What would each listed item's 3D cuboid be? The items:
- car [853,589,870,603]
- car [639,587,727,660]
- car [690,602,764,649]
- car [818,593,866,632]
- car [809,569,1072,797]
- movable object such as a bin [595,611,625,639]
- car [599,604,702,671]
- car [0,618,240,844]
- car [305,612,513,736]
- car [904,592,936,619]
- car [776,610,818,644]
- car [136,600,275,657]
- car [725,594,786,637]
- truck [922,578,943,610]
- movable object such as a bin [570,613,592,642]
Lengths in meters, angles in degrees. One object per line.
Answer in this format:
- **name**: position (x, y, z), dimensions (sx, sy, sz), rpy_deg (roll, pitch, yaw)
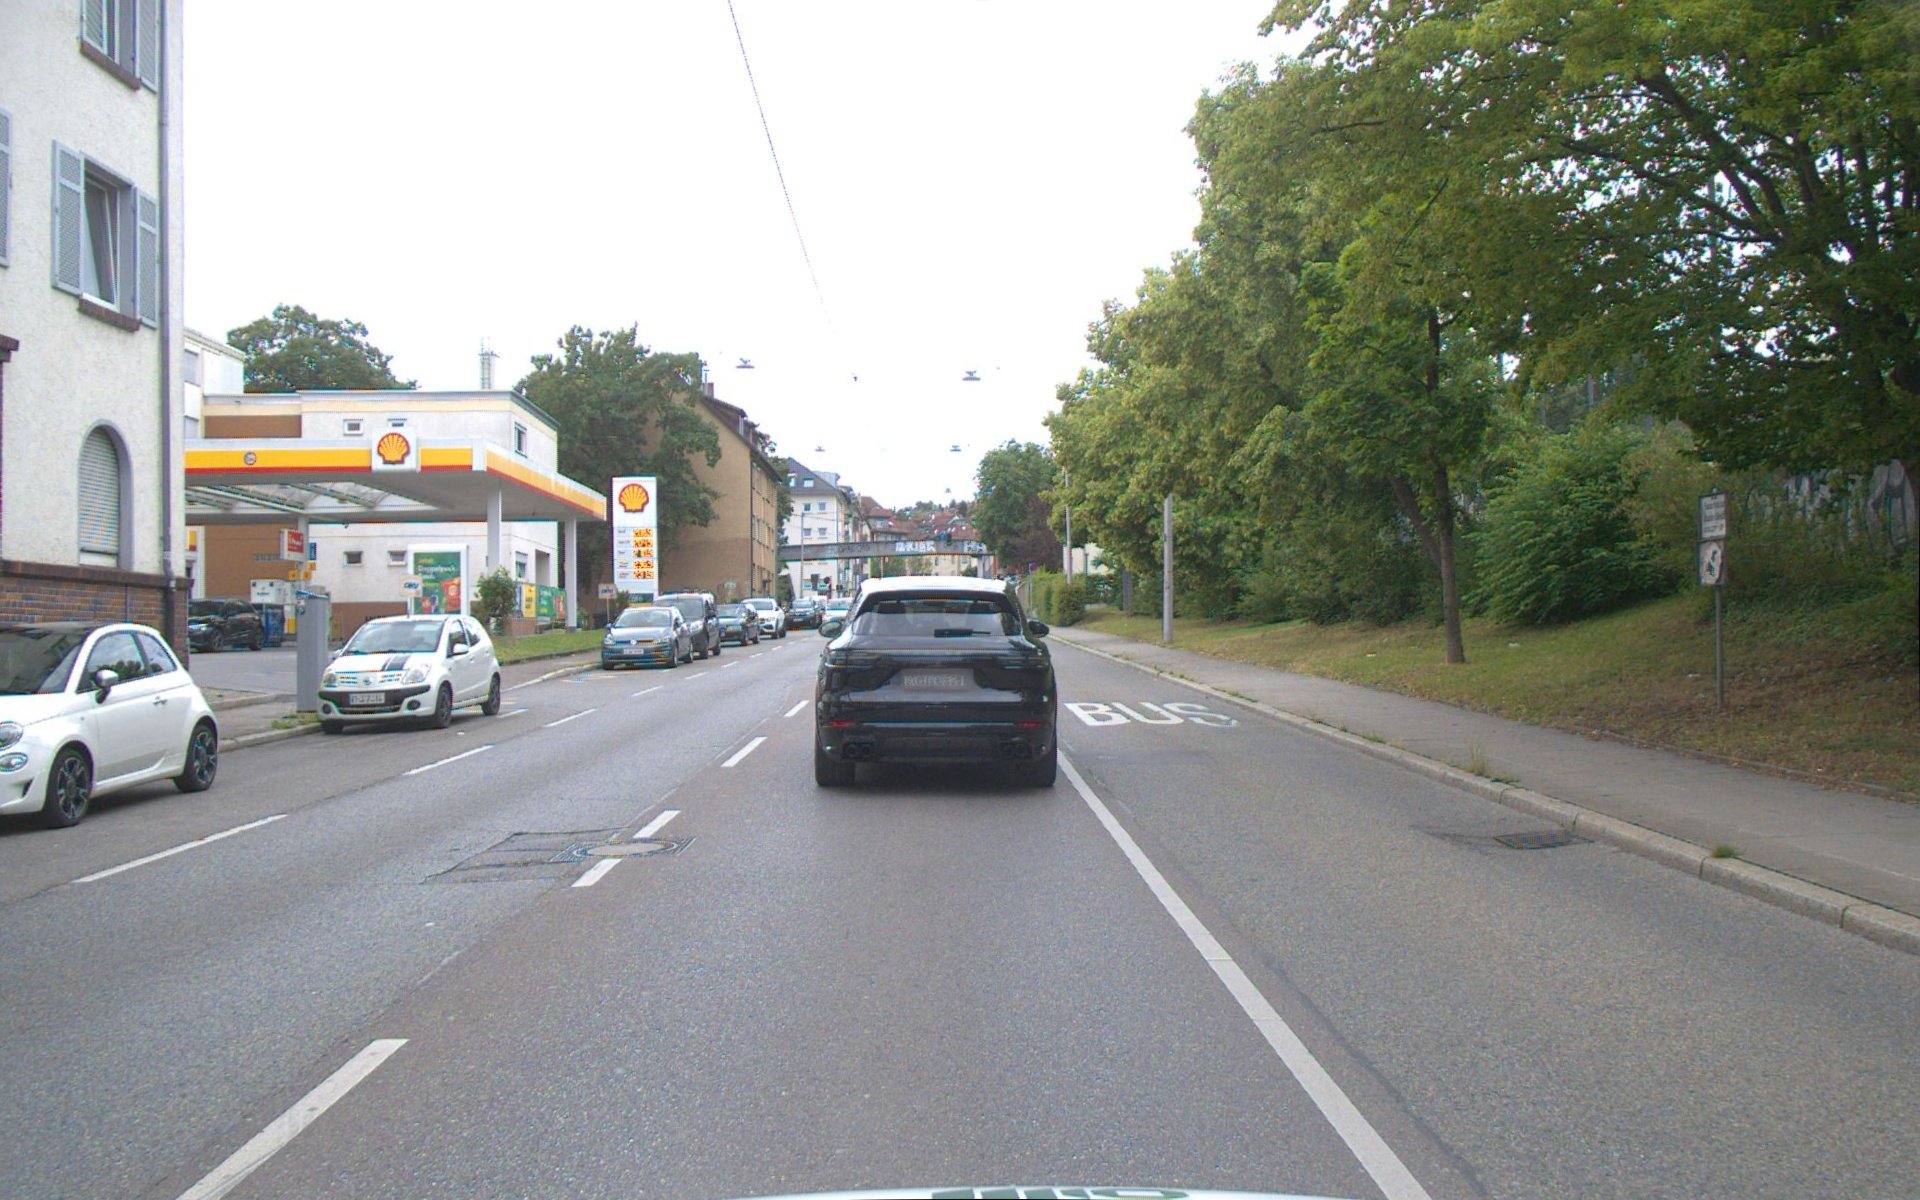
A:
- **car**: position (-11.654, -0.471, 196.486), dimensions (1.729, 1.534, 4.000), rpy_deg (-1, 0, 0)
- **car**: position (-7.674, 0.616, 46.211), dimensions (1.814, 1.867, 4.699), rpy_deg (-2, 0, -3)
- **car**: position (-8.032, 0.854, 57.488), dimensions (1.760, 1.456, 4.744), rpy_deg (-2, 0, 1)
- **car**: position (-4.999, 0.509, 70.312), dimensions (1.761, 1.551, 3.999), rpy_deg (-2, 0, -1)
- **car**: position (-0.164, 0.599, 14.386), dimensions (1.953, 1.691, 4.000), rpy_deg (0, 1, -1)
- **movable object such as a bin**: position (-18.201, 1.298, 86.078), dimensions (1.365, 1.453, 0.912), rpy_deg (0, 0, -3)
- **car**: position (-7.514, 0.874, 40.526), dimensions (1.754, 1.475, 4.217), rpy_deg (-2, 0, -1)
- **car**: position (-7.253, 0.939, 13.136), dimensions (1.516, 1.501, 3.603), rpy_deg (-2, 0, -1)
- **car**: position (-7.370, 0.940, 22.468), dimensions (1.586, 1.450, 3.664), rpy_deg (-2, 0, -1)
- **car**: position (-2.241, 0.300, 93.006), dimensions (1.706, 1.424, 4.000), rpy_deg (0, 1, -1)
- **car**: position (-8.697, 1.400, 88.417), dimensions (1.746, 1.637, 4.264), rpy_deg (-3, 0, 0)
- **car**: position (-20.135, 0.734, 44.365), dimensions (1.761, 1.445, 4.416), rpy_deg (0, 0, -1)
- **car**: position (-8.195, 0.599, 66.659), dimensions (1.876, 1.605, 4.699), rpy_deg (-2, 0, 0)
- **truck**: position (-3.218, -0.657, 192.330), dimensions (2.221, 3.484, 9.875), rpy_deg (-1, 0, -1)
- **movable object such as a bin**: position (-19.648, 1.407, 85.816), dimensions (0.892, 1.453, 1.396), rpy_deg (0, 0, -3)
